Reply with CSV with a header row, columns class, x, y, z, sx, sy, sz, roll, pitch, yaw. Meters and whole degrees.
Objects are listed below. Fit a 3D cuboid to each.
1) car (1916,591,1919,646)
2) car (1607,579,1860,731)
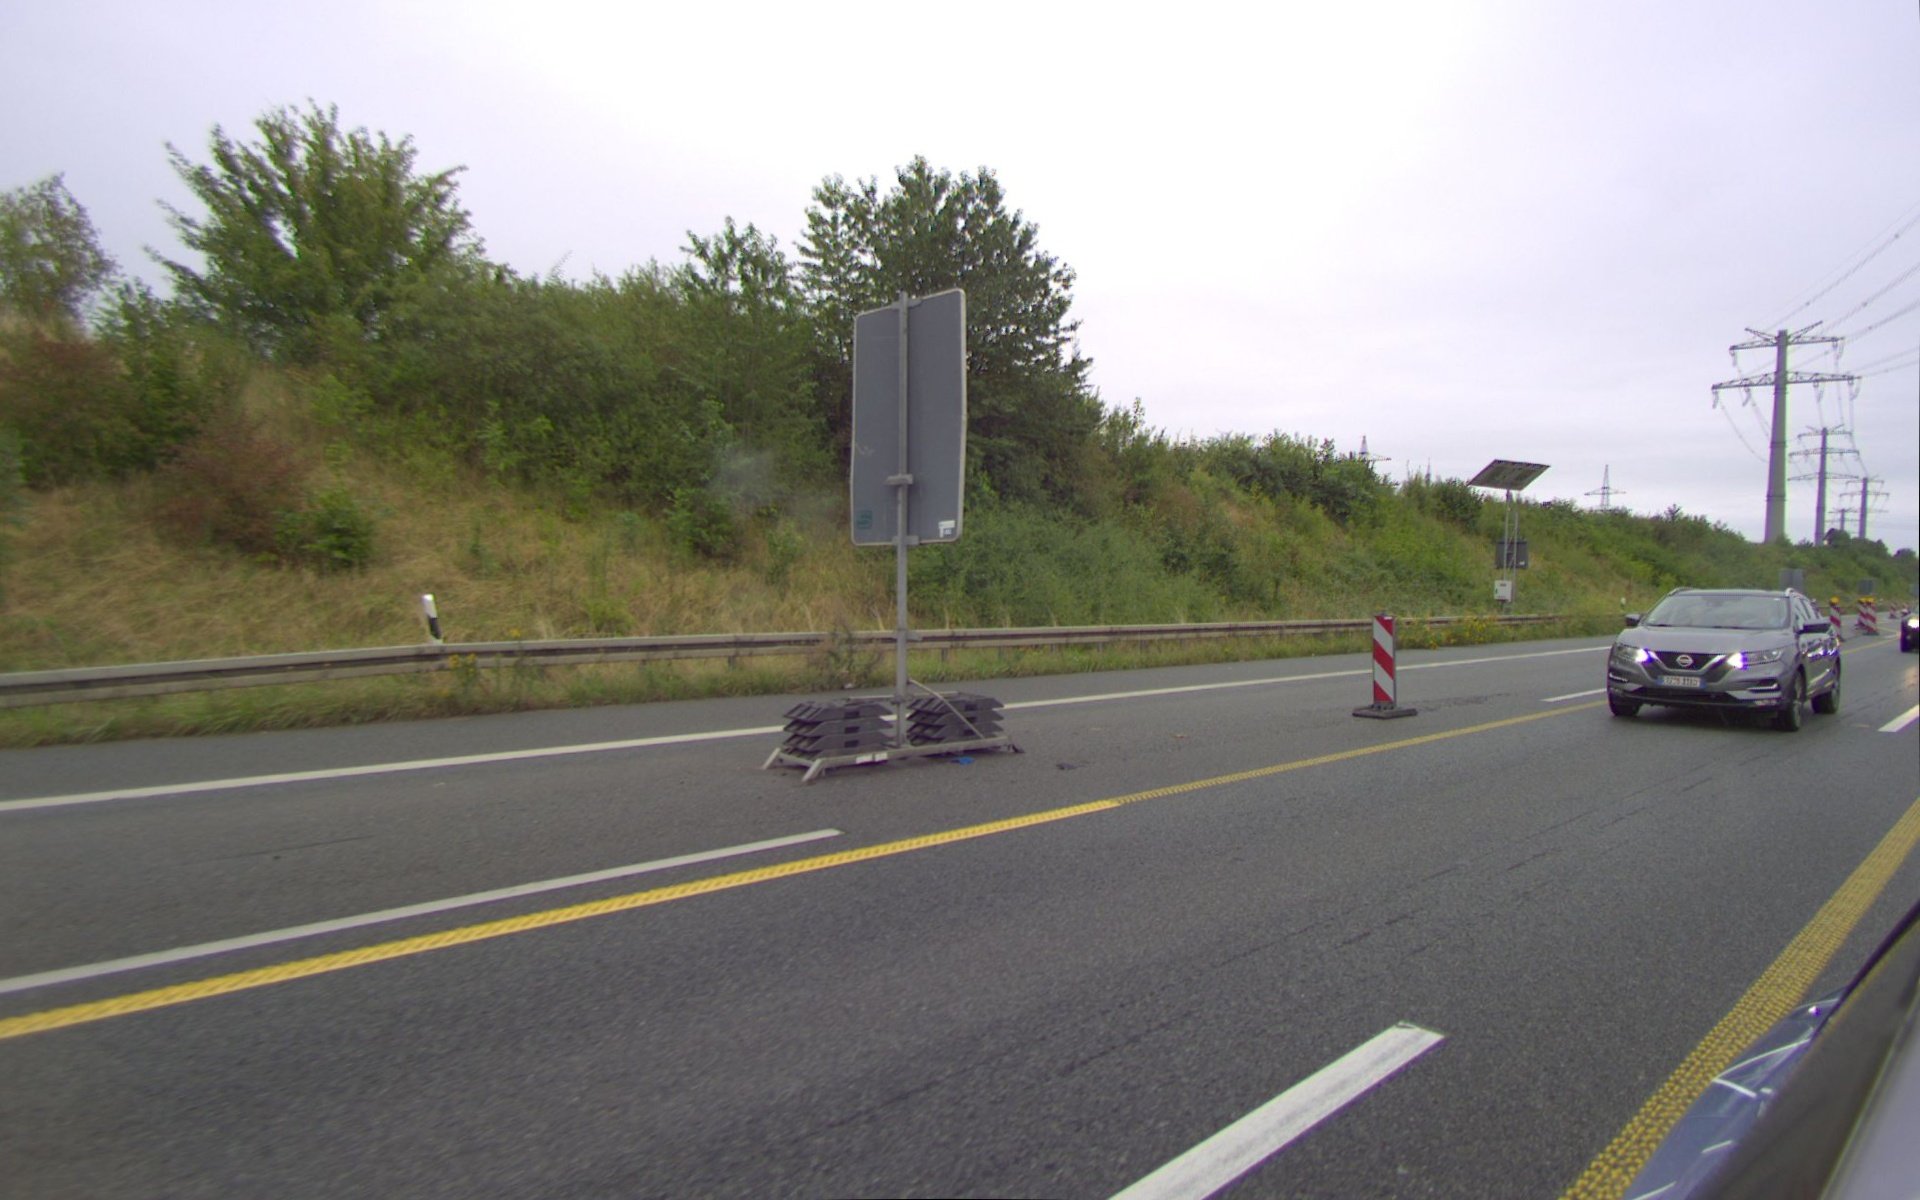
class,x,y,z,sx,sy,sz,roll,pitch,yaw
car,27.445,0.487,27.540,4.079,1.458,1.802,0,1,-43
car,9.610,0.541,12.460,4.079,1.552,1.802,0,1,-43
